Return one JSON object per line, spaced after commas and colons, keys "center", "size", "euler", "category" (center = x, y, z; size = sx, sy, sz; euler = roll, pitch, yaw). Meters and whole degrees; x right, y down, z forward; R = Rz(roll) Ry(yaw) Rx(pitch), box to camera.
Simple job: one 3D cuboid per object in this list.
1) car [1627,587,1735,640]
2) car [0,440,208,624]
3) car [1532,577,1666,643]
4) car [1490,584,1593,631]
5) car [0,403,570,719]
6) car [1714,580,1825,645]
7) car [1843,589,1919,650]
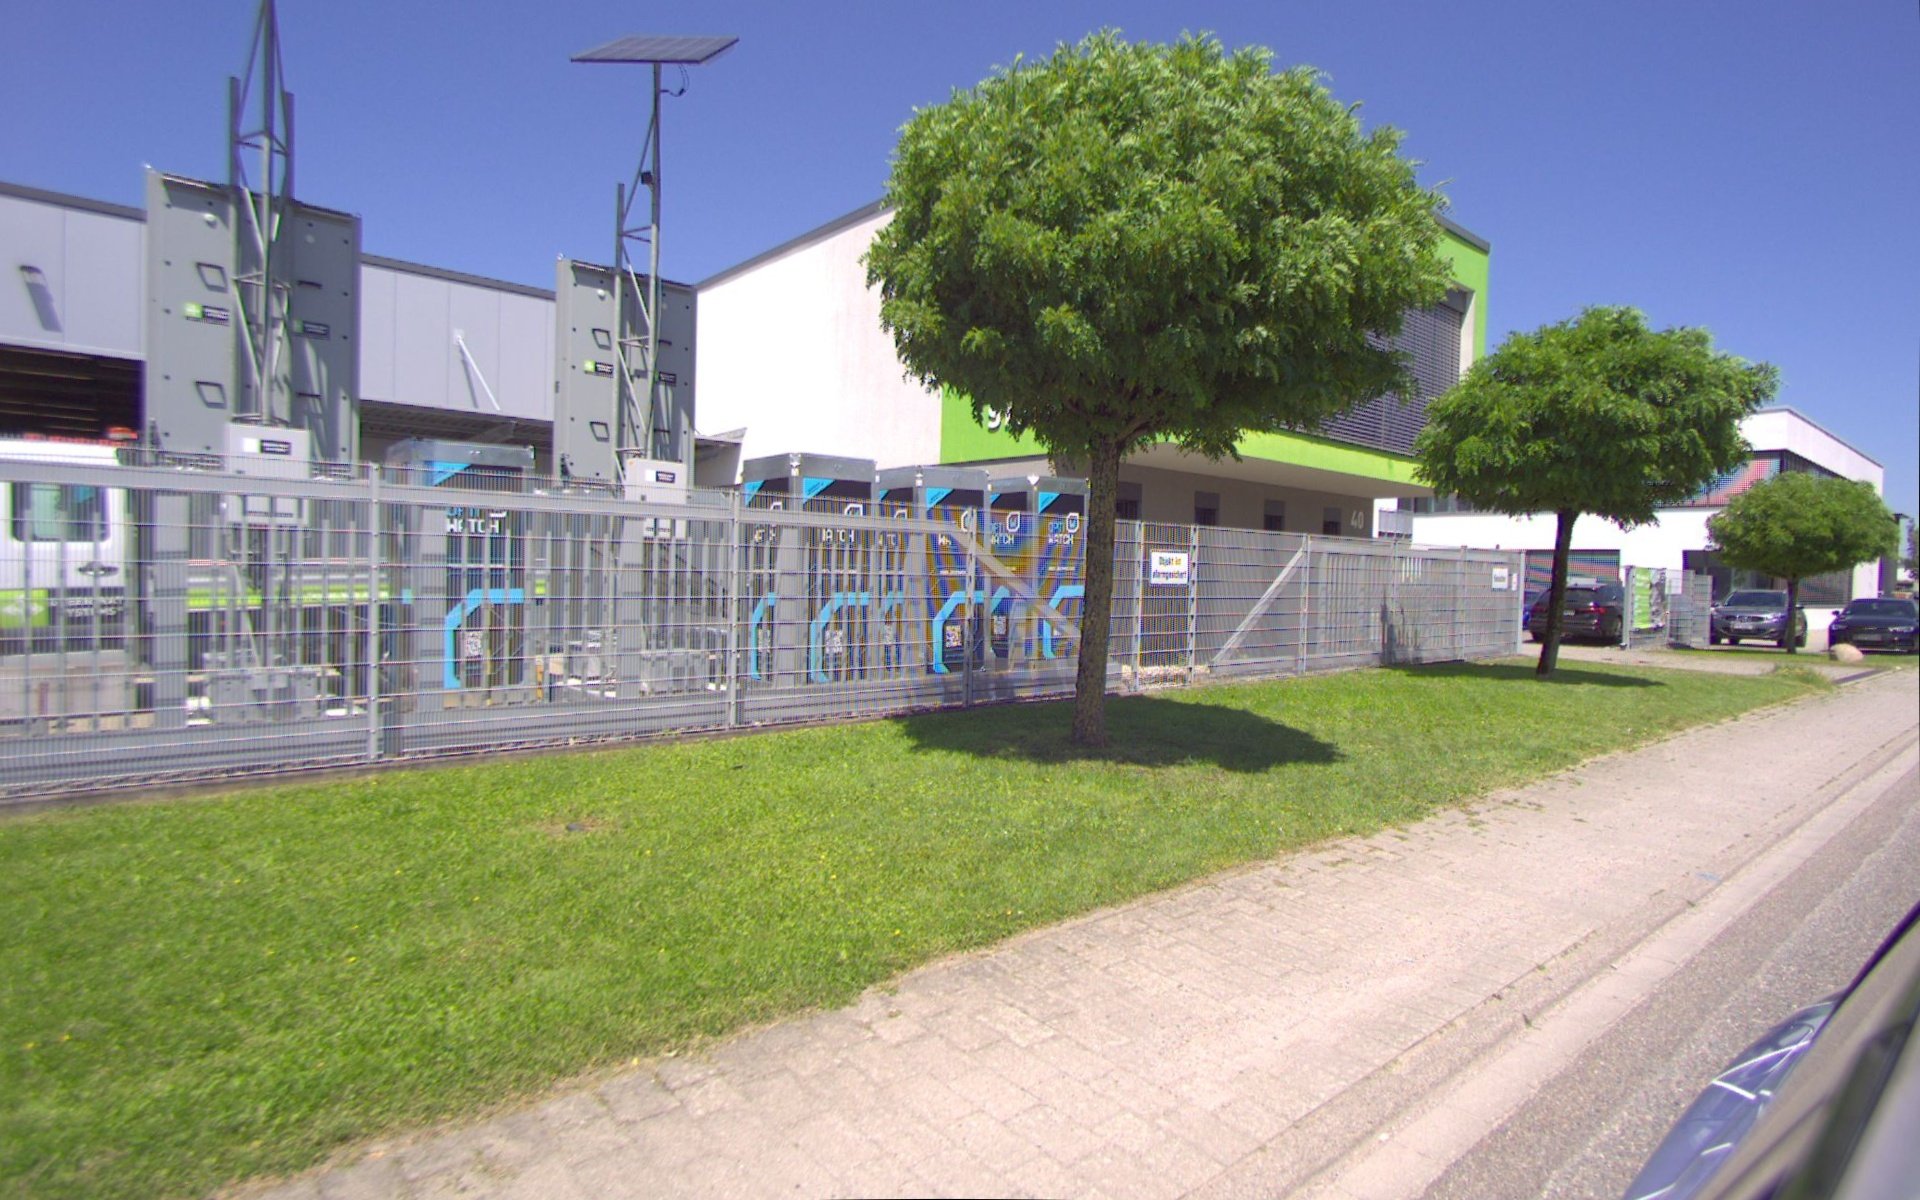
{"center": [21.524, 0.374, 30.170], "size": [3.951, 1.467, 1.726], "euler": [0, 1, -41], "category": "car"}
{"center": [-14.332, -1.008, 14.353], "size": [5.758, 2.524, 2.135], "euler": [0, 4, -41], "category": "car"}
{"center": [15.953, 0.186, 25.216], "size": [3.985, 1.415, 1.741], "euler": [-2, 3, -41], "category": "car"}
{"center": [19.218, 0.230, 33.398], "size": [3.951, 1.454, 1.726], "euler": [0, 1, -41], "category": "car"}
{"center": [-7.571, -0.383, 9.571], "size": [6.902, 2.524, 2.135], "euler": [0, 4, -41], "category": "car"}
{"center": [22.659, 0.315, 28.276], "size": [3.951, 1.653, 1.726], "euler": [0, 1, -41], "category": "car"}
{"center": [24.320, 0.480, 26.134], "size": [4.171, 1.446, 1.695], "euler": [0, 1, -41], "category": "car"}
